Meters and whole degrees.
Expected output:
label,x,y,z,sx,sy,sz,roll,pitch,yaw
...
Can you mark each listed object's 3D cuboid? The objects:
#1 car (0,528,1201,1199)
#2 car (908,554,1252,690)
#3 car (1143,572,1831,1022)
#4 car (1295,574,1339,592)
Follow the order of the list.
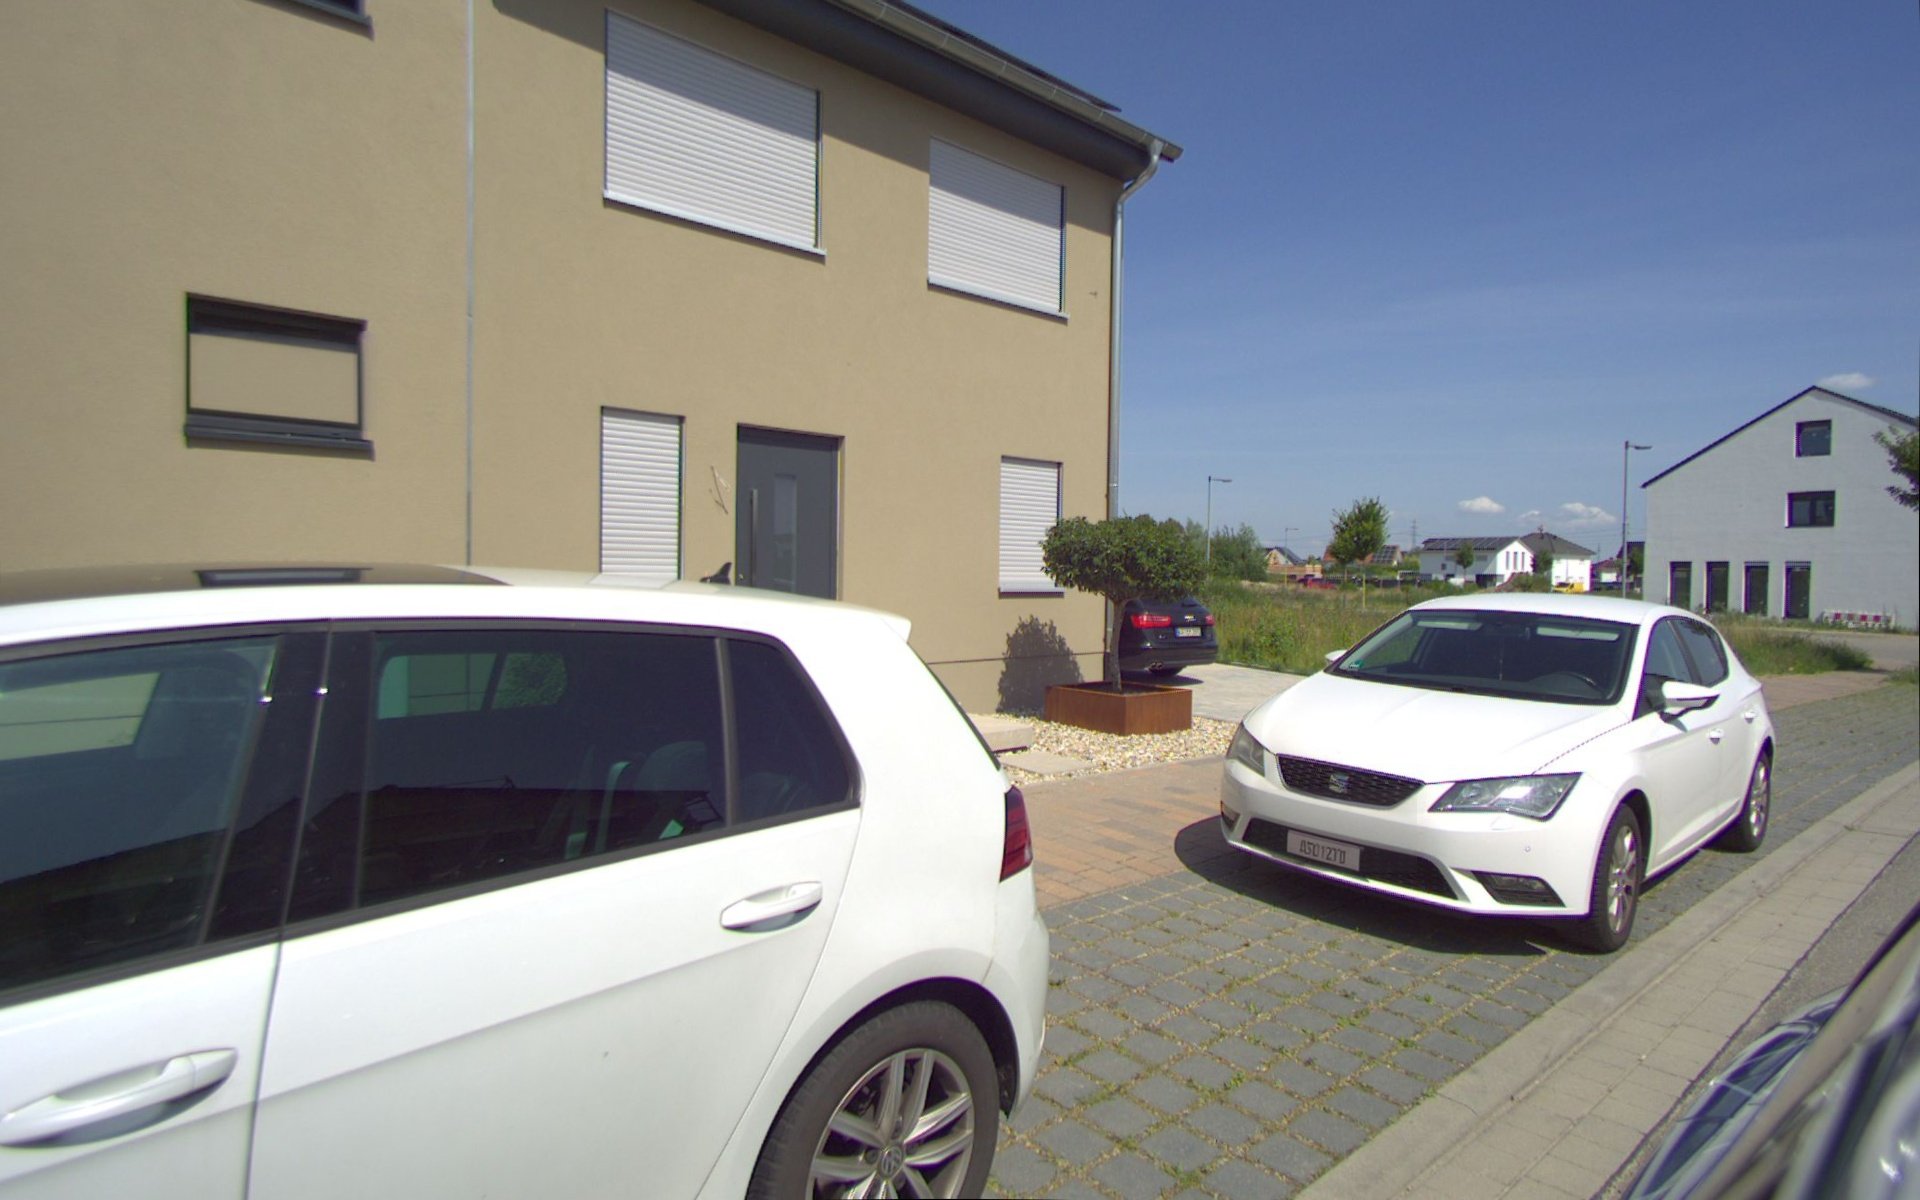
label,x,y,z,sx,sy,sz,roll,pitch,yaw
car,-1.657,0.604,1.689,4.437,1.443,1.783,1,3,-42
car,1.488,0.173,14.477,1.964,1.443,4.902,0,4,-38
car,3.174,0.648,5.604,4.484,1.473,1.818,0,3,-41
car,32.861,-1.543,93.153,3.922,1.636,1.811,0,2,-33
